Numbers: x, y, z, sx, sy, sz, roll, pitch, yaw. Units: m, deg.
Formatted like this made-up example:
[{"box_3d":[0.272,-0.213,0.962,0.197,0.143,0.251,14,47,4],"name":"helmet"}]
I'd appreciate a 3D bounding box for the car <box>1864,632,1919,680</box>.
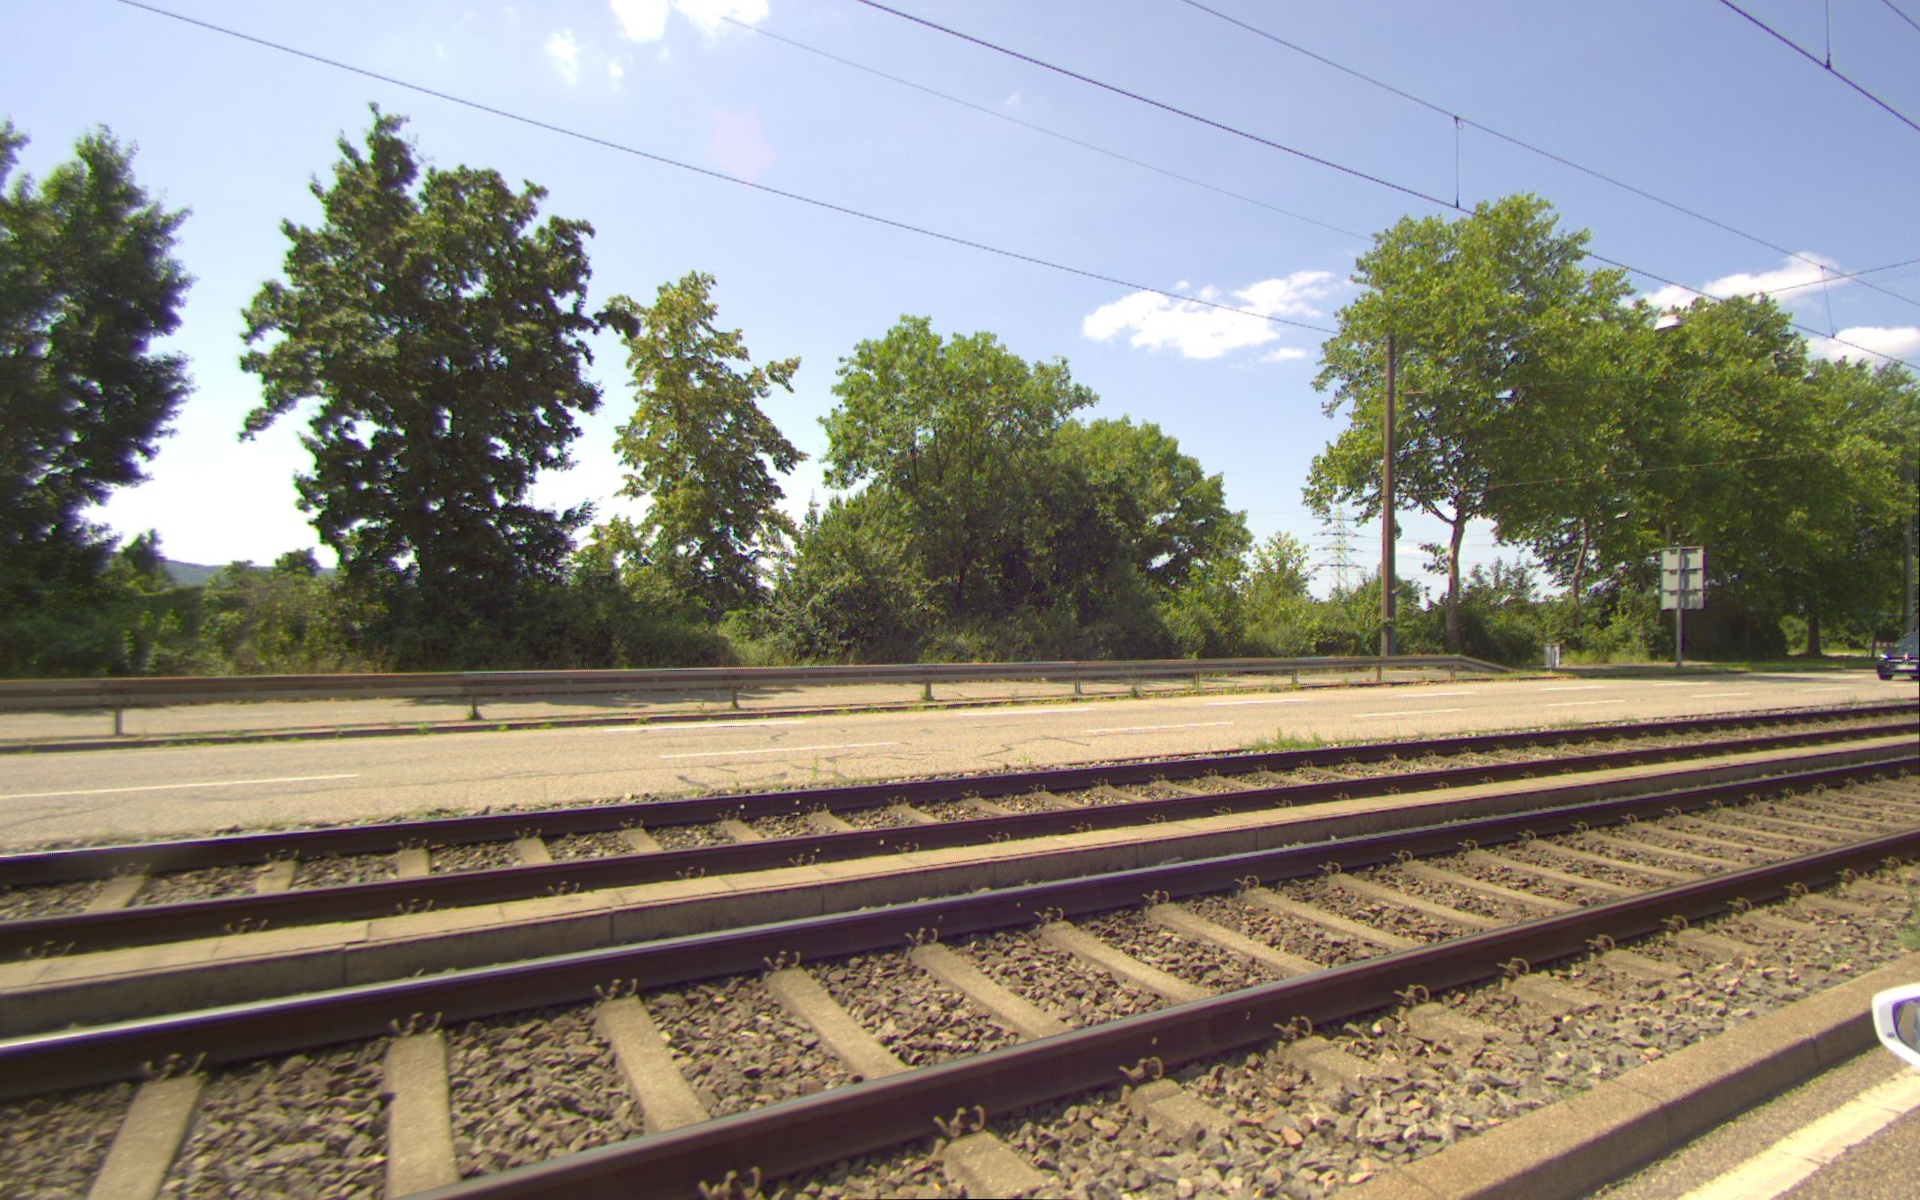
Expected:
[{"box_3d":[32.317,1.843,33.611,4.375,1.534,1.809,1,-2,-30],"name":"car"}]
